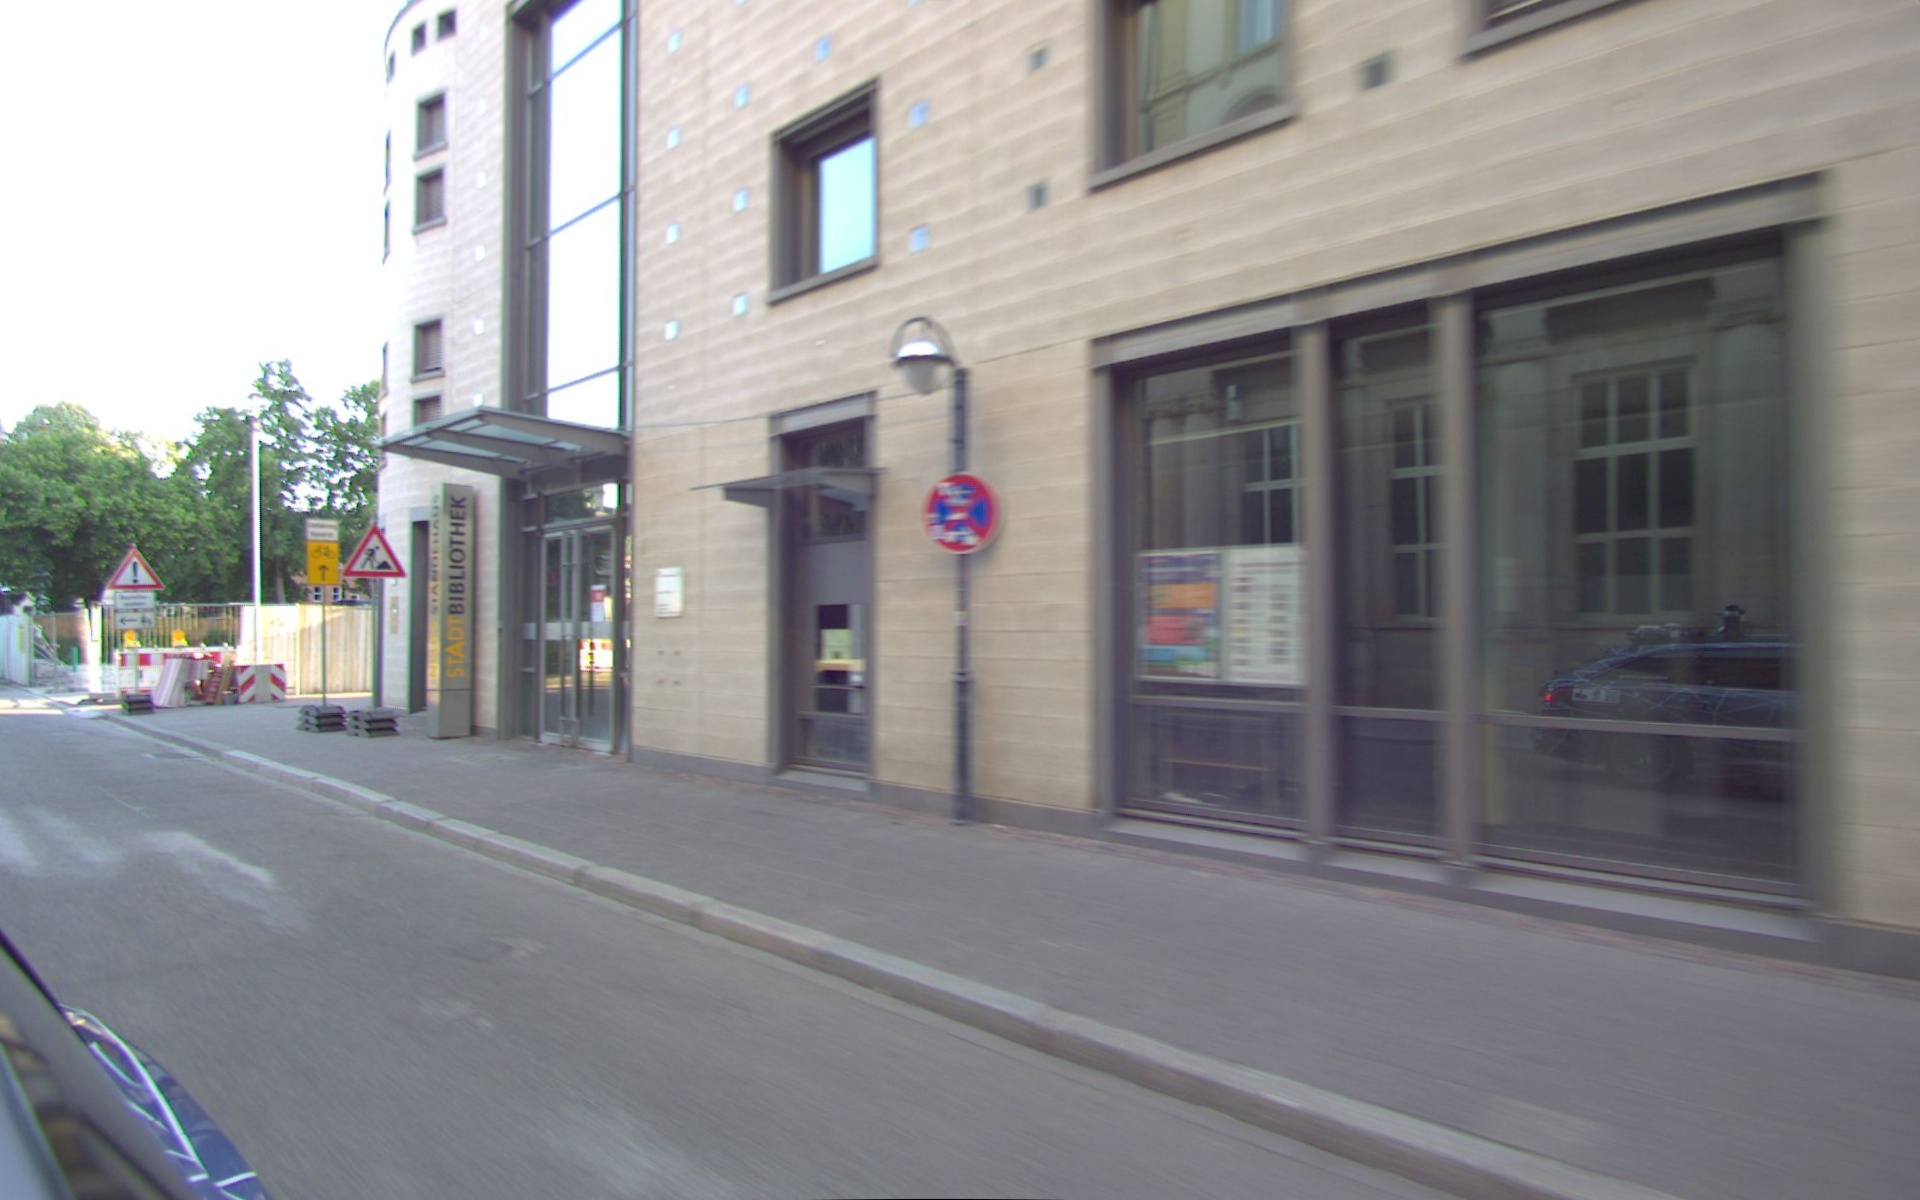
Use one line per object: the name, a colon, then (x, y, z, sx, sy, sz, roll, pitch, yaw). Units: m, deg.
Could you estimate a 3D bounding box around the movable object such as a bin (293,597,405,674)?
movable object such as a bin: (-21.628, 1.250, 35.885, 2.727, 2.623, 2.145, -1, -2, 20)
